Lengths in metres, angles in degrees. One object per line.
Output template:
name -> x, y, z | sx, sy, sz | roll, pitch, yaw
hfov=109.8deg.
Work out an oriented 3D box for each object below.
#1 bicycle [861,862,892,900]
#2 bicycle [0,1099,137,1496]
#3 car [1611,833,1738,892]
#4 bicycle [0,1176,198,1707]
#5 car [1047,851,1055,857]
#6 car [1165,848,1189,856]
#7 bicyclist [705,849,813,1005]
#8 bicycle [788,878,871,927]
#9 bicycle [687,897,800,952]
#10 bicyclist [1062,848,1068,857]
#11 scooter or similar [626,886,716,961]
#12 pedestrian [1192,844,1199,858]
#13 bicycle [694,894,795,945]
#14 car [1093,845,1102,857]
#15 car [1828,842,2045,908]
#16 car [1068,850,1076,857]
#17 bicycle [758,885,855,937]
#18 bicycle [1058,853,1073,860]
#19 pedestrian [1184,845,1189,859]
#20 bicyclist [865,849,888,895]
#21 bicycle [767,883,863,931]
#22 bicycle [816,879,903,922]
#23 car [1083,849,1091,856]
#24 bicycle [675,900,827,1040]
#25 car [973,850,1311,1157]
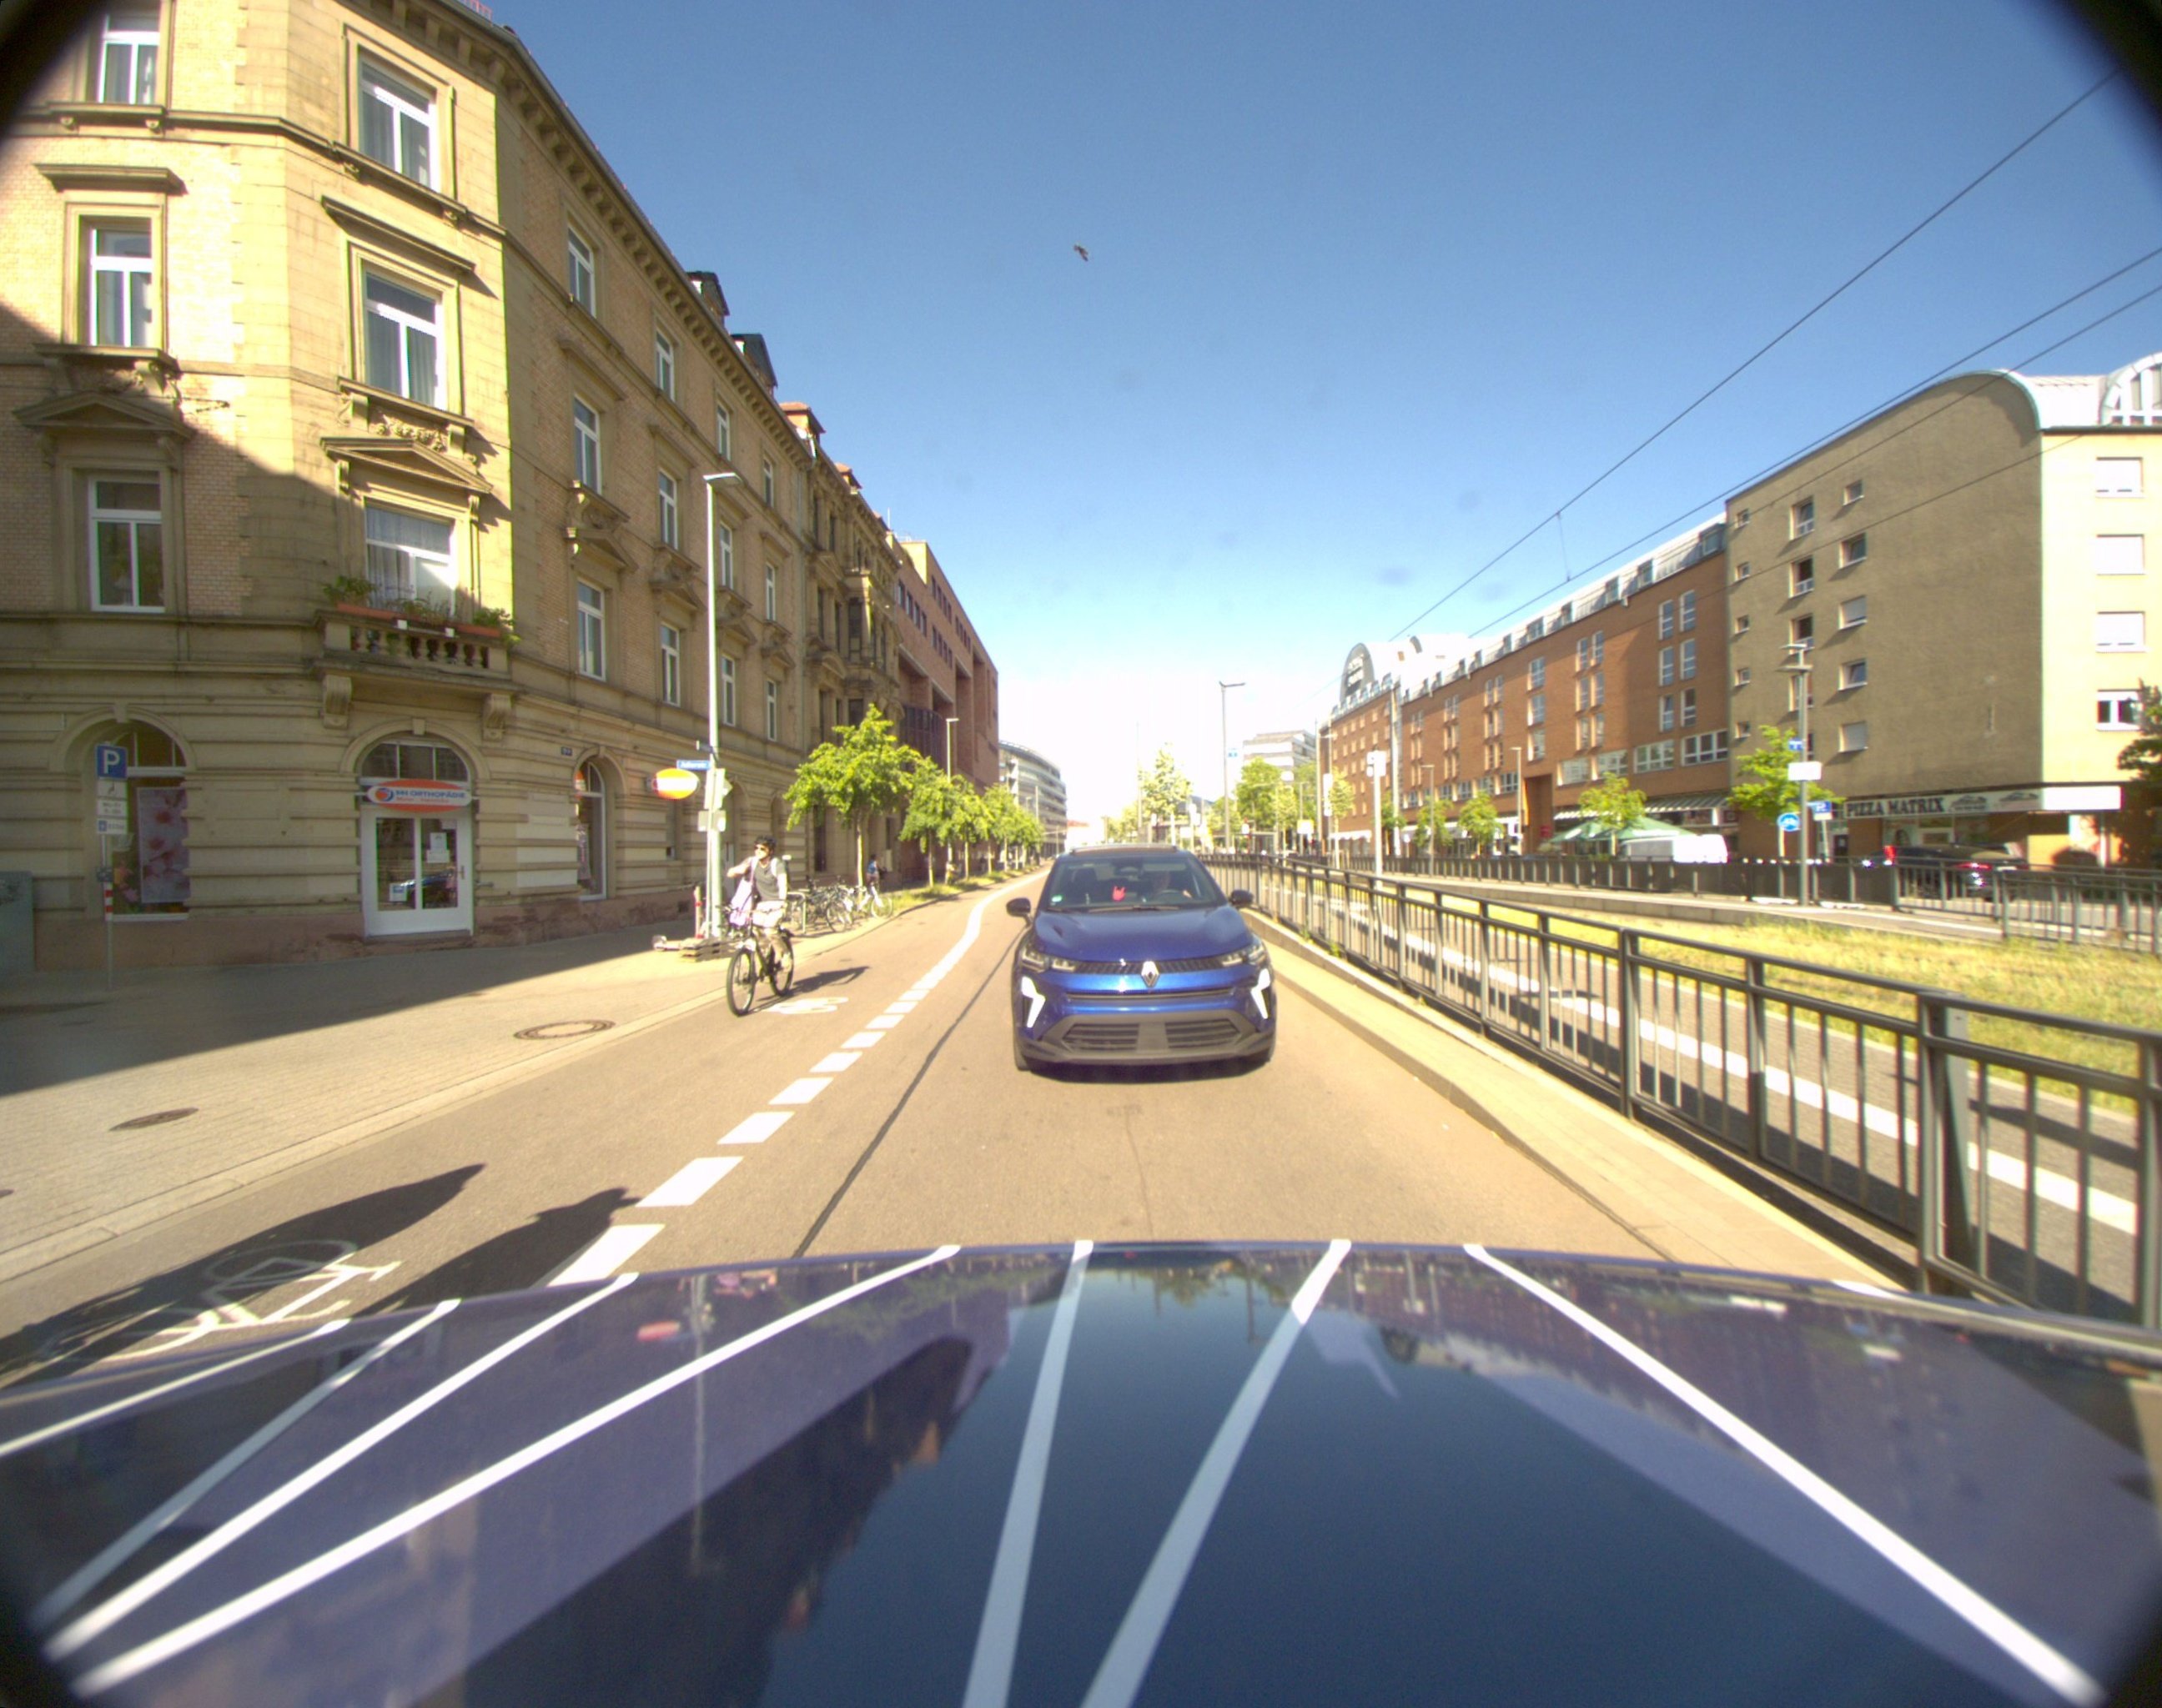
bicycle -> -7.349, 0.943, 27.359 | 0.579, 1.246, 2.097 | -1, 1, -2
bicycle -> -3.411, 1.286, 1.403 | 0.830, 1.000, 1.952 | -2, 1, 1
car -> 25.377, 0.294, 32.776 | 1.997, 2.284, 5.191 | -2, 1, 9
bicycle -> -2.403, 1.231, 0.724 | 0.725, 1.000, 1.952 | -2, 1, 4
car -> -6.925, -0.015, 175.996 | 1.745, 1.543, 4.000 | -1, 0, 0
car -> 18.532, -0.335, 146.835 | 4.416, 1.546, 1.759 | -1, 1, 1
bicyclist -> -3.502, 0.754, 8.345 | 0.725, 1.595, 0.895 | -2, 1, 1
bicycle -> -6.279, 1.195, 19.071 | 1.678, 1.056, 1.134 | 3, 1, -1
bicycle -> -6.302, 1.305, 14.201 | 1.905, 0.906, 0.592 | 1, 2, 9
bicyclist -> -2.542, -0.216, 123.158 | 0.859, 1.413, 0.839 | -2, 1, -3
scooter or similar -> -6.822, 1.146, 12.685 | 1.199, 1.191, 0.487 | -1, 1, -4
pedestrian -> 15.262, -0.421, 101.526 | 0.821, 1.878, 0.769 | -1, 1, 5
bicycle -> -6.551, 1.263, 14.834 | 1.717, 0.920, 0.497 | -1, 1, 1
car -> 3.444, -0.604, 160.734 | 1.758, 2.472, 4.610 | -2, 1, 1
car -> 24.247, 0.518, 21.785 | 1.699, 1.630, 3.999 | -2, 1, -1
car -> -2.078, -0.189, 175.379 | 1.745, 1.543, 4.000 | -1, 0, 1
bicycle -> -5.907, 1.222, 16.411 | 1.876, 1.043, 0.608 | 1, 1, -4
bicycle -> -2.521, 0.420, 123.190 | 2.275, 1.118, 0.850 | -2, 1, -3
pedestrian -> 14.814, -0.294, 106.741 | 0.600, 1.878, 0.743 | 0, 1, 25
bicyclist -> -7.345, 0.631, 27.298 | 0.579, 1.608, 0.794 | -1, 2, -2
bicycle -> -6.240, 1.229, 17.926 | 1.903, 1.024, 1.030 | 1, 1, -2
bicycle -> -5.949, 1.250, 20.474 | 2.062, 1.036, 0.847 | 2, 1, 0
car -> 1.452, -0.301, 174.046 | 1.745, 1.543, 4.000 | -1, 0, 1
bicycle -> -3.486, 1.174, 8.249 | 0.725, 1.187, 1.952 | -2, 1, 1
car -> 0.369, 0.811, 6.371 | 1.758, 1.576, 4.420 | -4, 0, 1
